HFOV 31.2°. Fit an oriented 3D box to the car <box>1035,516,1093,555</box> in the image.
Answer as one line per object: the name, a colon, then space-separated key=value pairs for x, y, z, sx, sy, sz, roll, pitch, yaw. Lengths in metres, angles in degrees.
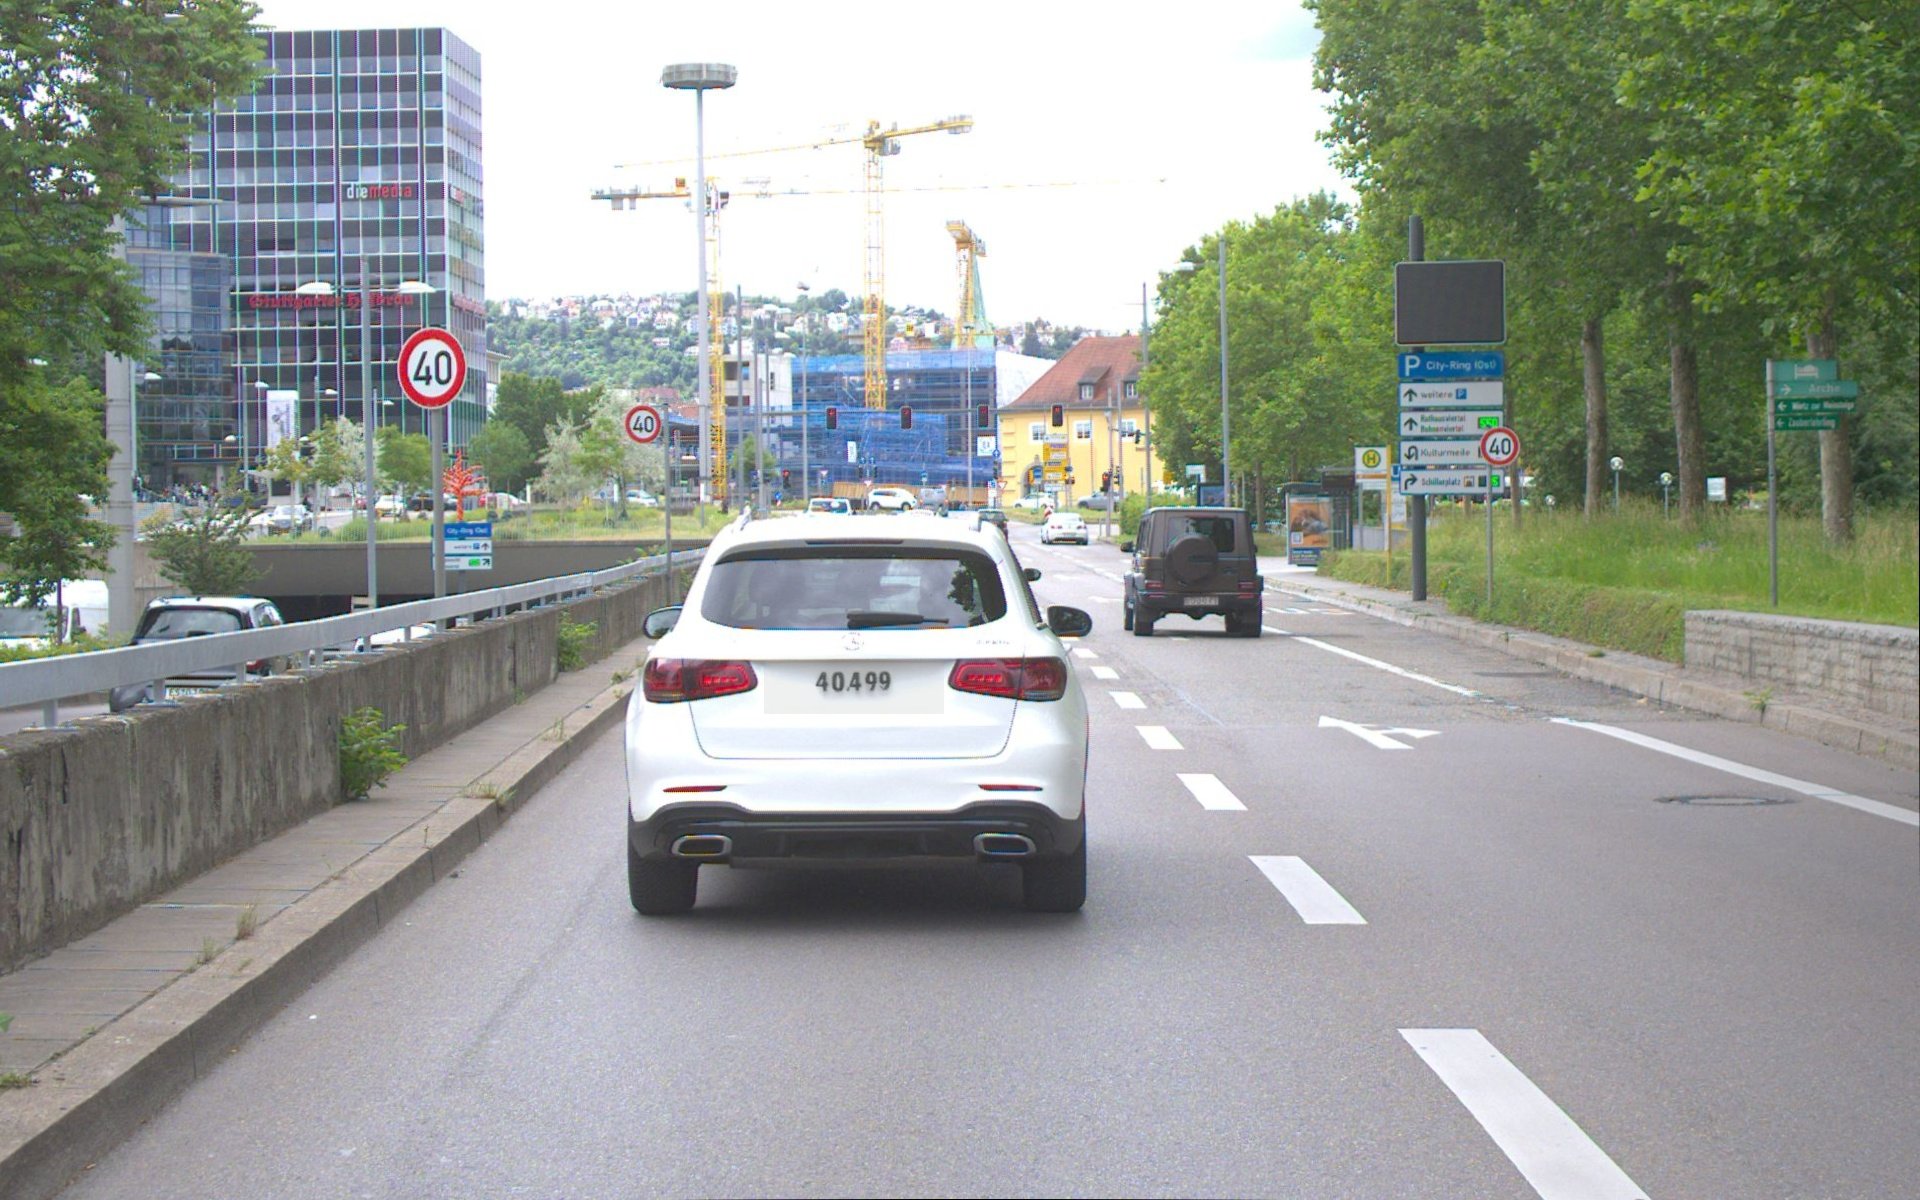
car: x=4.613 y=-2.880 z=153.054 sx=1.993 sy=1.612 sz=4.001 roll=2 pitch=0 yaw=-6

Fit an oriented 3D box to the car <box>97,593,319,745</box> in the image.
car: x=-7.838 y=0.687 z=36.110 sx=1.627 sy=1.504 sz=3.540 roll=1 pitch=0 yaw=-2

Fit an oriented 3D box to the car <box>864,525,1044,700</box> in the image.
car: x=-0.091 y=0.128 z=34.820 sx=1.672 sy=1.622 sz=4.000 roll=2 pitch=0 yaw=-1

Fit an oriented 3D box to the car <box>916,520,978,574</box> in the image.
car: x=-0.476 y=-1.851 z=120.826 sx=1.993 sy=1.774 sz=4.000 roll=2 pitch=0 yaw=-2

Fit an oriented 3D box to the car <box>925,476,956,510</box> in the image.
car: x=-1.251 y=-6.803 z=218.283 sx=1.800 sy=2.007 sz=4.000 roll=2 pitch=0 yaw=-2

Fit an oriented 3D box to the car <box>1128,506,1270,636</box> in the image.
car: x=3.701 y=-0.435 z=53.869 sx=1.978 sy=1.887 sz=4.707 roll=2 pitch=0 yaw=2

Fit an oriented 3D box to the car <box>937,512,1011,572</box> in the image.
car: x=0.408 y=-1.713 z=102.800 sx=1.993 sy=1.656 sz=4.000 roll=2 pitch=0 yaw=-2

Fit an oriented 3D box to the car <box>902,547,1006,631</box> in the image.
car: x=-0.152 y=-0.247 z=68.148 sx=1.922 sy=1.596 sz=4.001 roll=0 pitch=1 yaw=-2

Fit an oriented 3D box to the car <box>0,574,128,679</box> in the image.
car: x=-19.642 y=0.538 z=74.255 sx=1.975 sy=2.158 sz=6.213 roll=1 pitch=0 yaw=-2

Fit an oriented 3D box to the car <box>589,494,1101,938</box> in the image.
car: x=-0.516 y=0.433 z=15.076 sx=1.940 sy=1.678 sz=4.000 roll=0 pitch=0 yaw=-2

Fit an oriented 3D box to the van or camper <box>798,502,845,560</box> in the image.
van or camper: x=-5.848 y=-2.900 z=145.243 sx=1.922 sy=2.312 sz=4.000 roll=0 pitch=-1 yaw=-2

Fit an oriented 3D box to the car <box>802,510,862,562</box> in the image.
car: x=-4.636 y=-2.316 z=125.269 sx=1.993 sy=1.751 sz=4.000 roll=2 pitch=0 yaw=0

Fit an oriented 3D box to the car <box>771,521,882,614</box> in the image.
car: x=-2.402 y=-0.605 z=61.966 sx=1.922 sy=1.596 sz=4.001 roll=0 pitch=1 yaw=-2

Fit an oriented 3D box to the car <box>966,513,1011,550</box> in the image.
car: x=1.262 y=-3.038 z=152.945 sx=1.719 sy=1.579 sz=4.001 roll=2 pitch=1 yaw=-3

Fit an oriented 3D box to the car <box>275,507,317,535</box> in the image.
car: x=-34.502 y=-4.091 z=178.682 sx=1.832 sy=1.355 sz=3.869 roll=2 pitch=0 yaw=-7

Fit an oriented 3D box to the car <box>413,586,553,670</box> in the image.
car: x=-8.035 y=0.448 z=58.228 sx=1.719 sy=1.288 sz=4.000 roll=2 pitch=1 yaw=1
